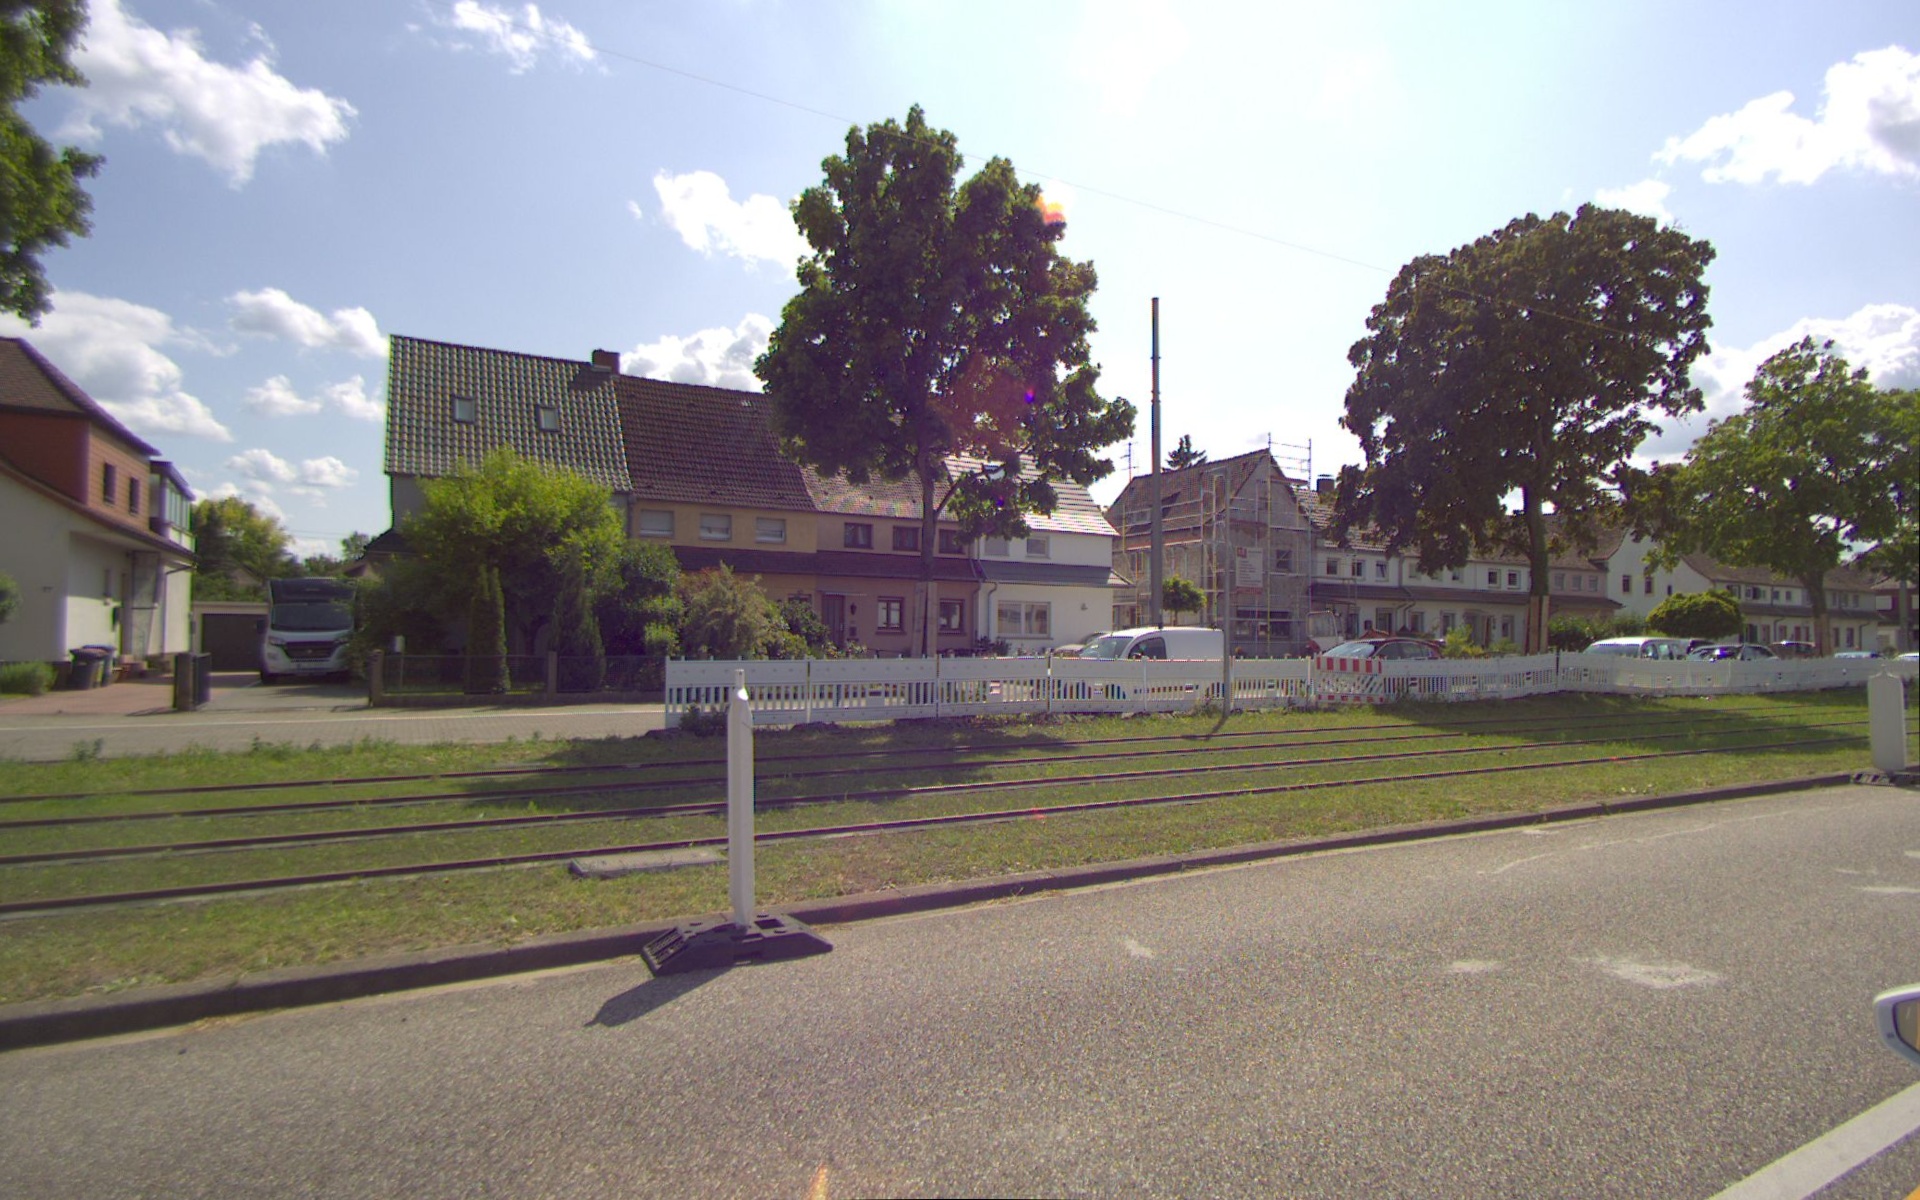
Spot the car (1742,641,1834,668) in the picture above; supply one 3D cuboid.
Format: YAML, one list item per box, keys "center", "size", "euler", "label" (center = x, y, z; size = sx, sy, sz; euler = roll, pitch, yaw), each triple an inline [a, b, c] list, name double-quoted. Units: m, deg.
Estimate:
- center: [50.120, 3.267, 60.843]
  size: [1.705, 1.529, 3.968]
  euler: [2, -2, -29]
  label: "car"

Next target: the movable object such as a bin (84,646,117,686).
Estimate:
- center: [-19.486, 1.494, 22.784]
  size: [0.453, 0.879, 0.471]
  euler: [2, 0, -30]
  label: "movable object such as a bin"

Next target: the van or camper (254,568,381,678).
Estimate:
- center: [-17.496, 0.577, 27.690]
  size: [2.470, 2.667, 6.305]
  euler: [2, -1, -29]
  label: "van or camper"

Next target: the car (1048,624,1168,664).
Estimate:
- center: [5.162, 1.550, 34.976]
  size: [4.071, 1.291, 1.527]
  euler: [3, -3, -29]
  label: "car"

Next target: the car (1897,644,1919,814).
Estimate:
- center: [10.578, 1.168, 9.125]
  size: [4.431, 1.464, 1.813]
  euler: [3, -3, -30]
  label: "car"

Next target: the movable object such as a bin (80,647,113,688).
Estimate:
- center: [-19.237, 1.500, 22.391]
  size: [0.453, 0.879, 0.471]
  euler: [2, 0, -30]
  label: "movable object such as a bin"

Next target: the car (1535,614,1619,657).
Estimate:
- center: [31.622, 1.812, 51.443]
  size: [3.953, 2.040, 1.984]
  euler: [3, -1, -30]
  label: "car"

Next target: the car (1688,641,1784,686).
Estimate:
- center: [25.141, 2.070, 32.530]
  size: [3.077, 1.395, 1.344]
  euler: [3, -3, -29]
  label: "car"

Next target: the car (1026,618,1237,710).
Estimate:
- center: [3.397, 1.253, 19.749]
  size: [3.953, 1.647, 1.646]
  euler: [3, -3, -29]
  label: "car"

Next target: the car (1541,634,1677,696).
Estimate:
- center: [18.395, 1.841, 28.438]
  size: [3.852, 1.673, 1.616]
  euler: [3, -3, -29]
  label: "car"

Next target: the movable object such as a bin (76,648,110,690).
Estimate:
- center: [-18.986, 1.505, 21.994]
  size: [0.453, 0.879, 0.471]
  euler: [2, 0, -30]
  label: "movable object such as a bin"

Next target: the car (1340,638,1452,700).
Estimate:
- center: [10.075, 1.592, 23.219]
  size: [2.416, 1.365, 1.069]
  euler: [2, -3, -25]
  label: "car"
